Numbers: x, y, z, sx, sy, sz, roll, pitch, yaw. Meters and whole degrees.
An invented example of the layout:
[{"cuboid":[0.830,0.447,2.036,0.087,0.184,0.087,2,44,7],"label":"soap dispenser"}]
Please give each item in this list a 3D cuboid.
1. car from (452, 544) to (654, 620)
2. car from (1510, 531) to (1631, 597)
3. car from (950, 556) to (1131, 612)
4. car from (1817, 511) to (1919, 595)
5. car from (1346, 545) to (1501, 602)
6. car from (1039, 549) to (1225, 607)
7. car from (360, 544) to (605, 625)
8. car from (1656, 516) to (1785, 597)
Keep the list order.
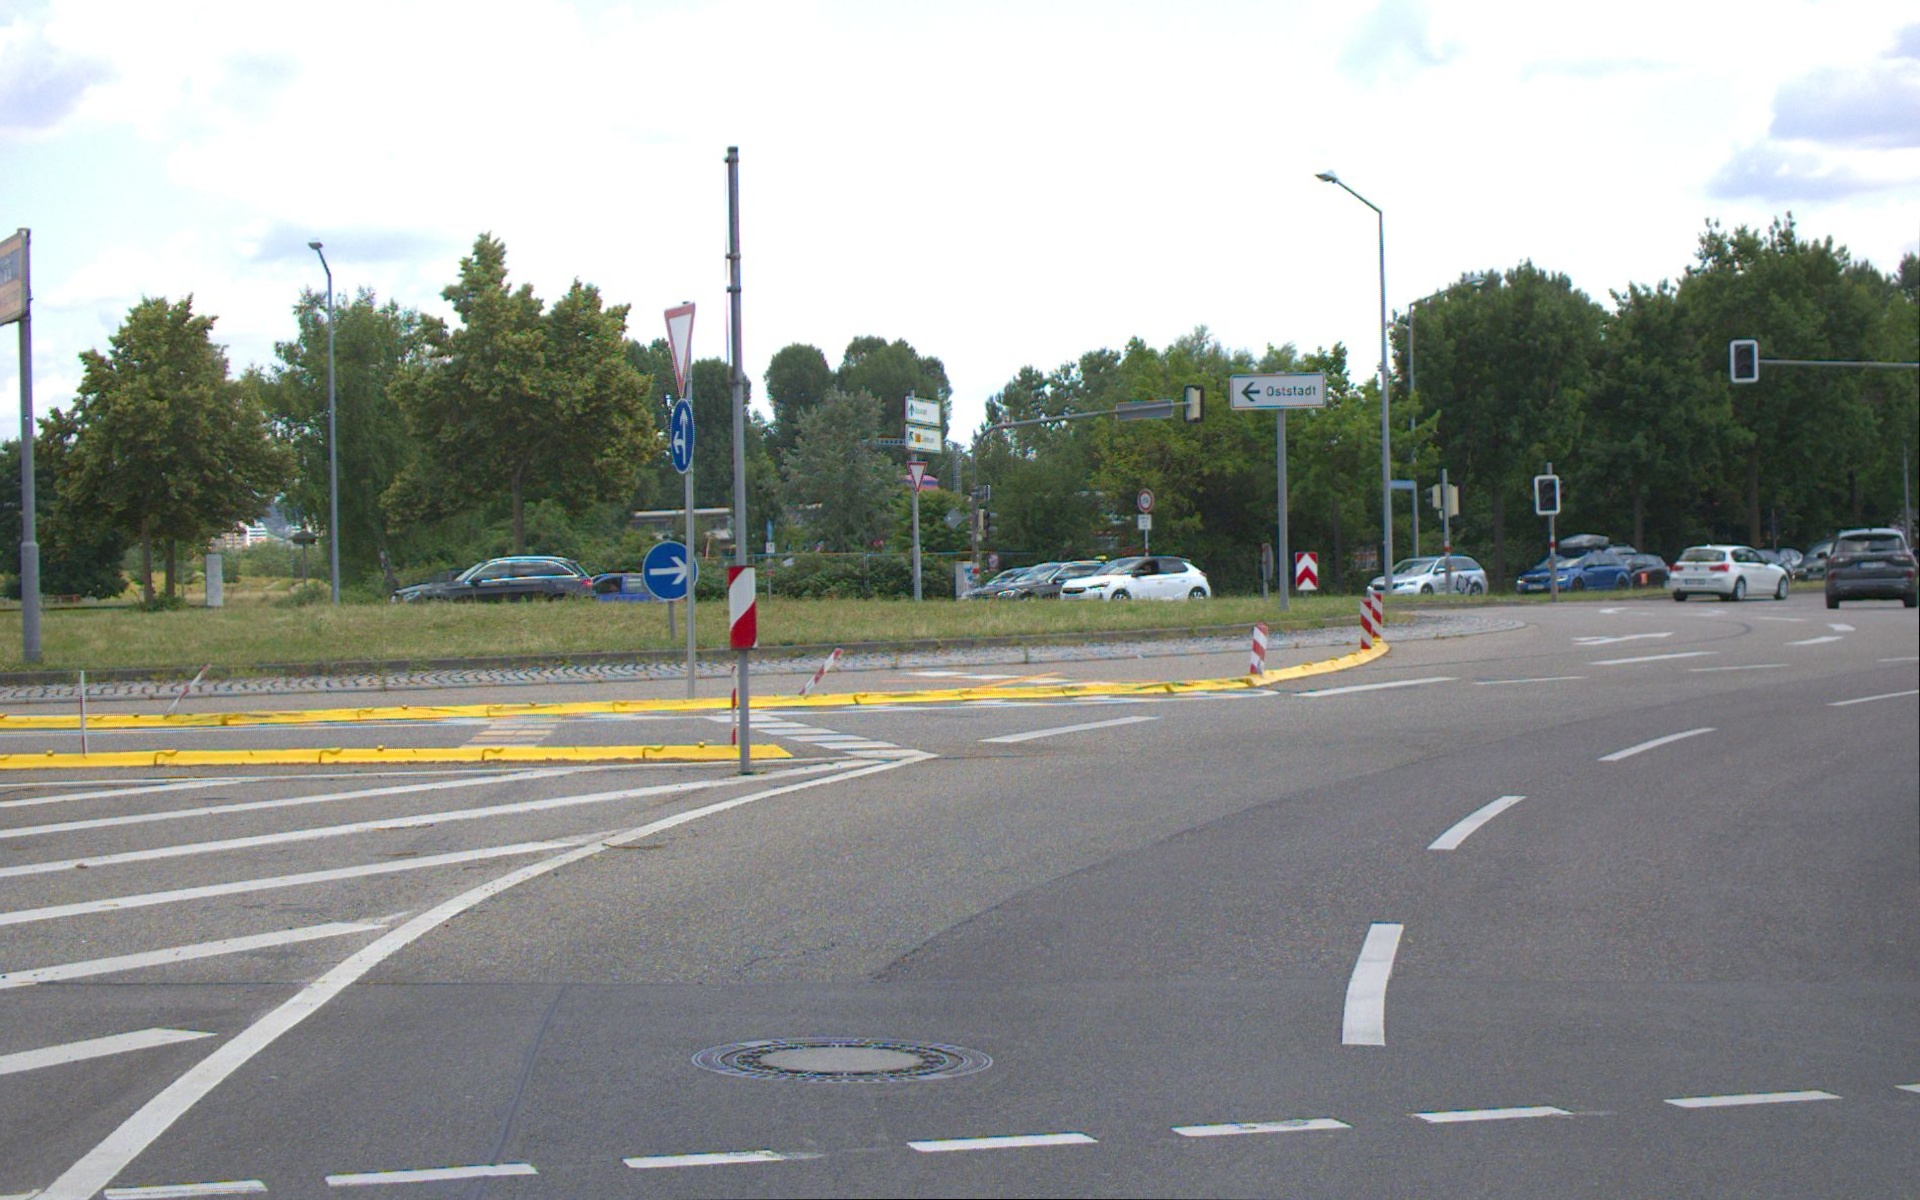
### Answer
[{"cuboid":[-10.216,-0.459,86.217,4.709,1.785,1.849,-1,1,-19],"label":"car"},{"cuboid":[17.483,-1.042,98.314,1.754,1.792,4.400,0,1,34],"label":"car"},{"cuboid":[2.081,-0.422,88.090,4.478,1.318,1.953,-2,2,-41],"label":"car"},{"cuboid":[19.016,-0.981,71.270,1.995,1.620,4.305,-2,0,19],"label":"car"},{"cuboid":[13.263,-0.770,98.247,2.122,1.516,4.496,0,2,44],"label":"car"},{"cuboid":[4.232,-0.547,84.195,4.299,1.325,1.999,-2,1,-39],"label":"car"},{"cuboid":[-10.732,-0.368,77.339,5.054,1.669,2.000,-2,1,-31],"label":"car"},{"cuboid":[19.516,-1.126,88.144,1.997,2.007,3.993,0,1,32],"label":"car"}]
